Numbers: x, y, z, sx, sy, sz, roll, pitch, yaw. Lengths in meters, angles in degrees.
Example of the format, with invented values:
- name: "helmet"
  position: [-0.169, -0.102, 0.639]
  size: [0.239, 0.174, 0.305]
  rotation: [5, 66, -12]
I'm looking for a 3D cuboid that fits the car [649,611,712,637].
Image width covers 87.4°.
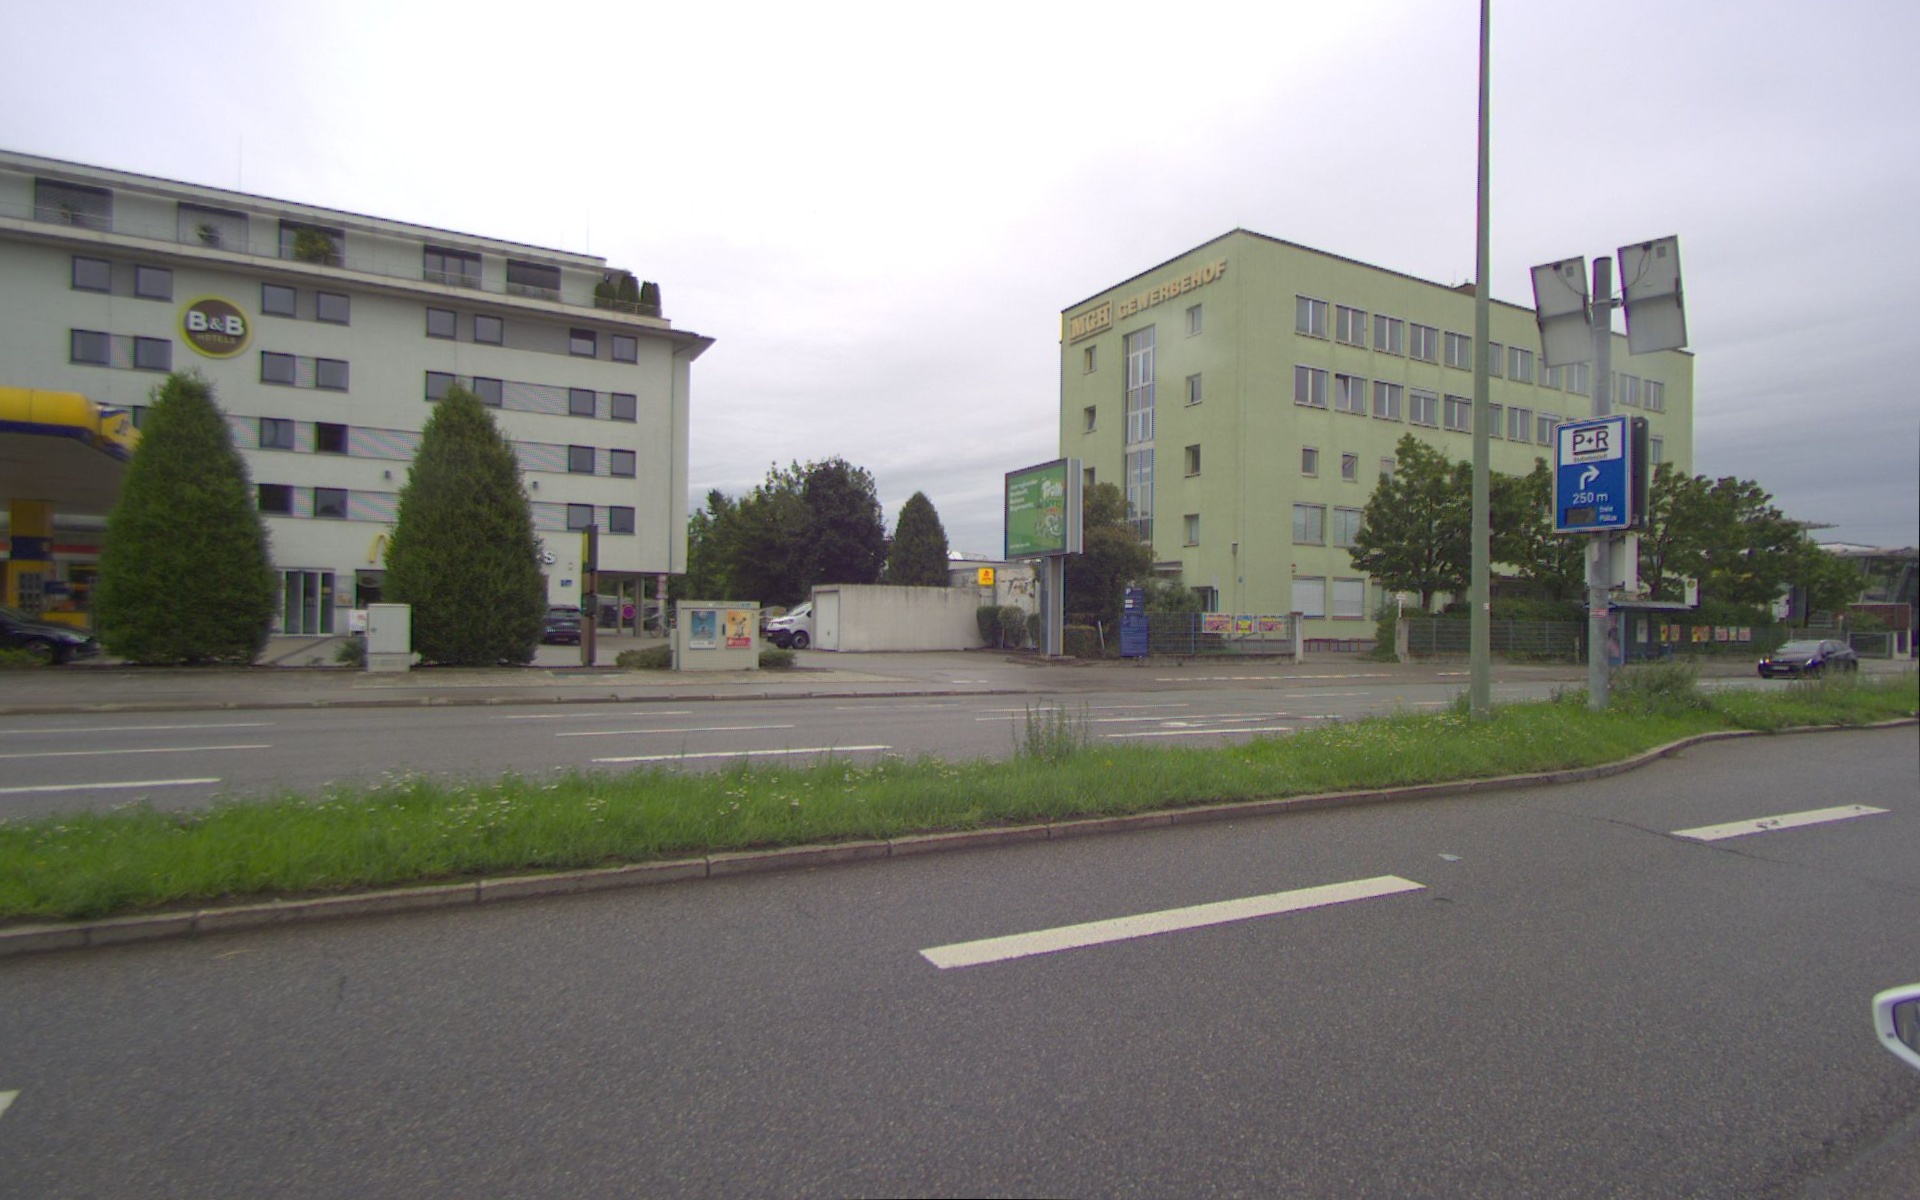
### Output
- name: "car"
  position: [-19.090, 1.674, 68.547]
  size: [3.946, 1.732, 1.646]
  rotation: [1, -2, -25]

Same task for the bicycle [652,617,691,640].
- name: "bicycle"
  position: [-14.274, 1.429, 49.741]
  size: [1.859, 1.131, 0.444]
  rotation: [2, -3, -38]

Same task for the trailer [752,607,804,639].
- name: "trailer"
  position: [-9.879, 1.263, 54.264]
  size: [1.616, 1.671, 3.781]
  rotation: [1, -3, -29]

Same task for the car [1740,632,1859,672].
- name: "car"
  position: [31.537, 1.942, 37.702]
  size: [4.600, 1.419, 1.984]
  rotation: [1, -3, -30]

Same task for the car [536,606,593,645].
- name: "car"
  position: [-16.981, 1.135, 43.023]
  size: [1.686, 1.608, 3.969]
  rotation: [1, -3, -30]

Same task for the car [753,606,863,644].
- name: "car"
  position: [-6.031, 1.017, 39.896]
  size: [3.951, 1.457, 1.817]
  rotation: [1, -2, -29]

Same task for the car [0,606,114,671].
- name: "car"
  position: [-20.795, 0.812, 21.389]
  size: [3.953, 1.349, 1.786]
  rotation: [2, -3, -30]
